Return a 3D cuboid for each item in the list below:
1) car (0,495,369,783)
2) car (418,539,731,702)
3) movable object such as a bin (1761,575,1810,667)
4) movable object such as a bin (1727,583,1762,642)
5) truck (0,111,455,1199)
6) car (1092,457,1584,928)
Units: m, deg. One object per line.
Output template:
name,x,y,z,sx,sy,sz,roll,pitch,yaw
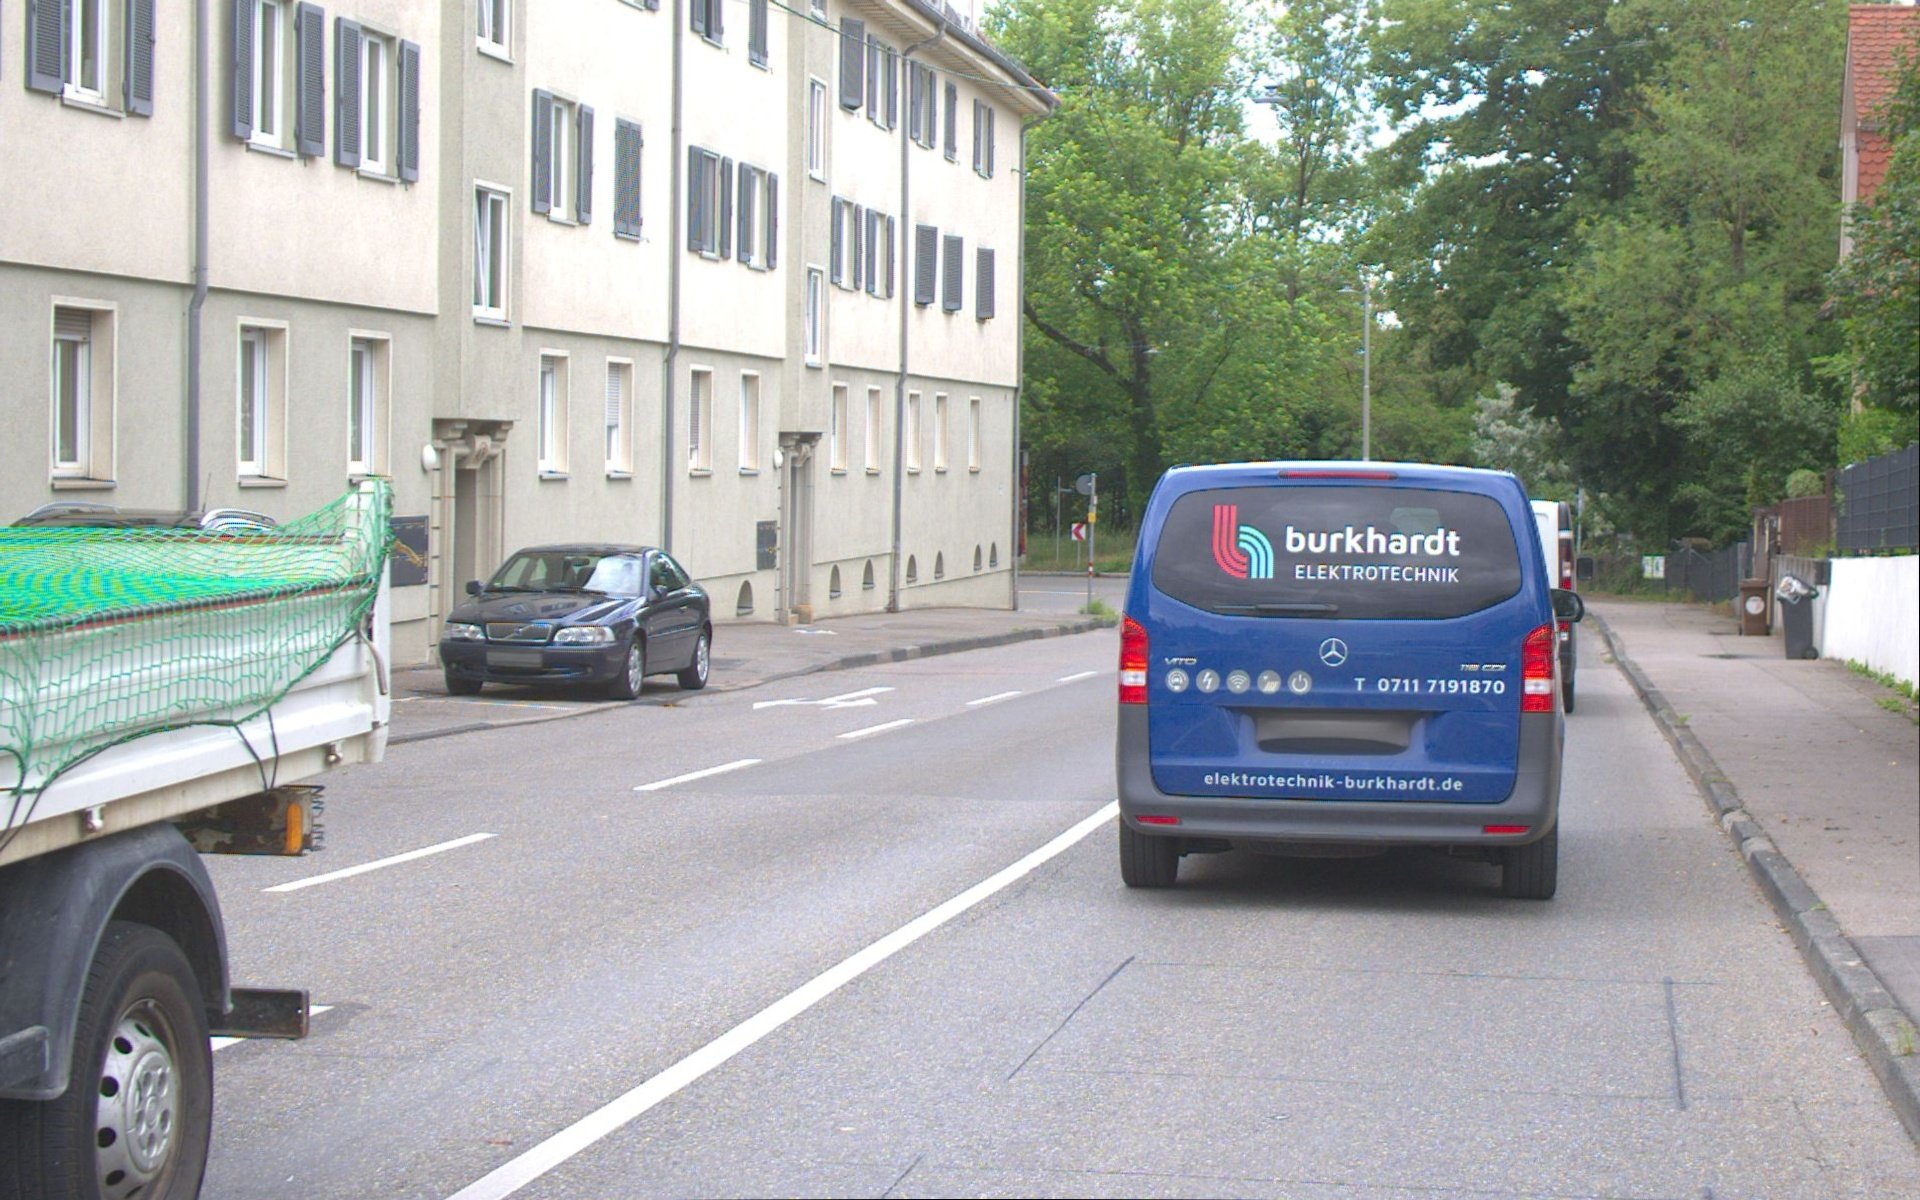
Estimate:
car,-5.451,0.160,22.220,1.822,1.627,4.695,2,1,8
car,-3.565,0.137,32.711,1.711,1.398,4.844,1,1,9
movable object such as a bin,10.819,0.270,45.061,0.528,1.174,0.634,-2,0,9
movable object such as a bin,12.605,0.197,55.250,0.461,0.921,0.566,-2,0,9
truck,-2.852,0.246,5.103,2.122,2.194,6.587,2,1,10
car,1.776,0.327,15.890,1.914,1.831,4.293,1,1,7
